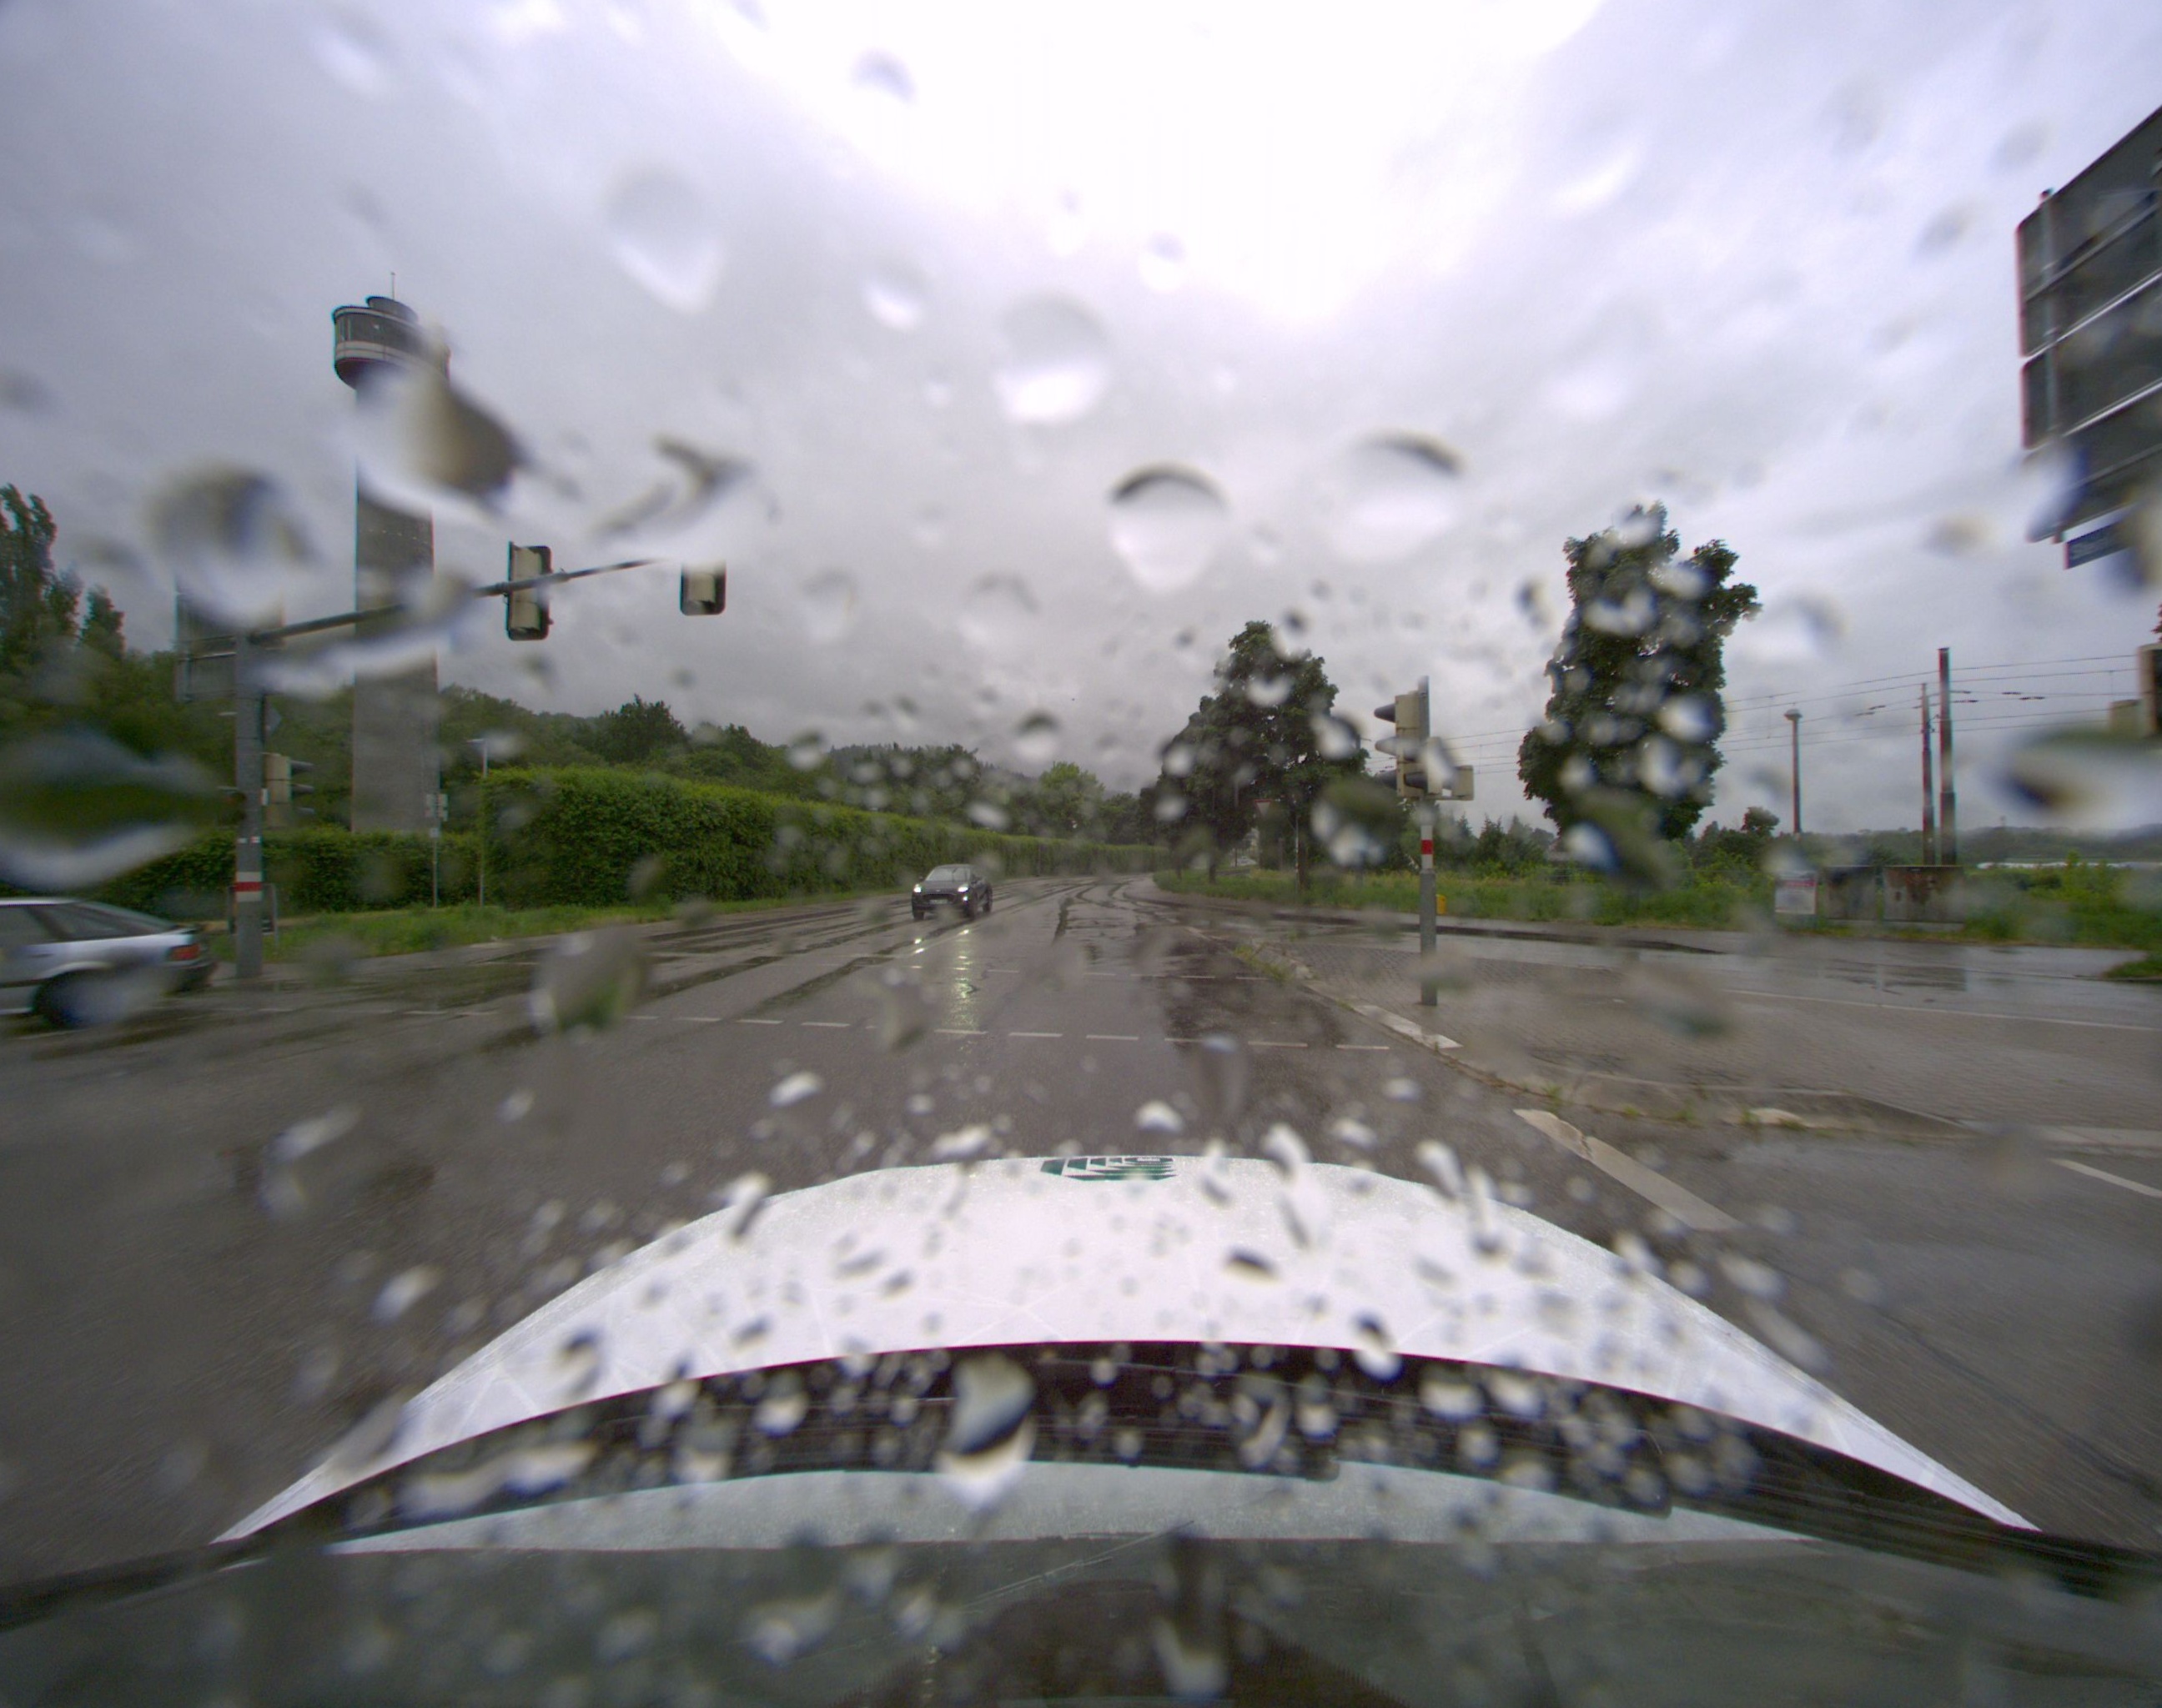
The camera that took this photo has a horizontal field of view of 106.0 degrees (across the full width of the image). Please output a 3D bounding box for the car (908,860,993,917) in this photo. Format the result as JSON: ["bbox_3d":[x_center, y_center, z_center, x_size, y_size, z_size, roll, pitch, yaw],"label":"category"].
[{"bbox_3d":[-3.832,0.971,24.554,1.778,1.505,4.062,-1,0,2],"label":"car"}]

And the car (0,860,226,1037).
[{"bbox_3d":[-11.708,0.945,8.265,4.089,1.708,2.018,-1,0,-44],"label":"car"}]

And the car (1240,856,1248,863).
[{"bbox_3d":[48.647,1.631,242.382,1.938,1.904,4.138,-1,0,17],"label":"car"}]
